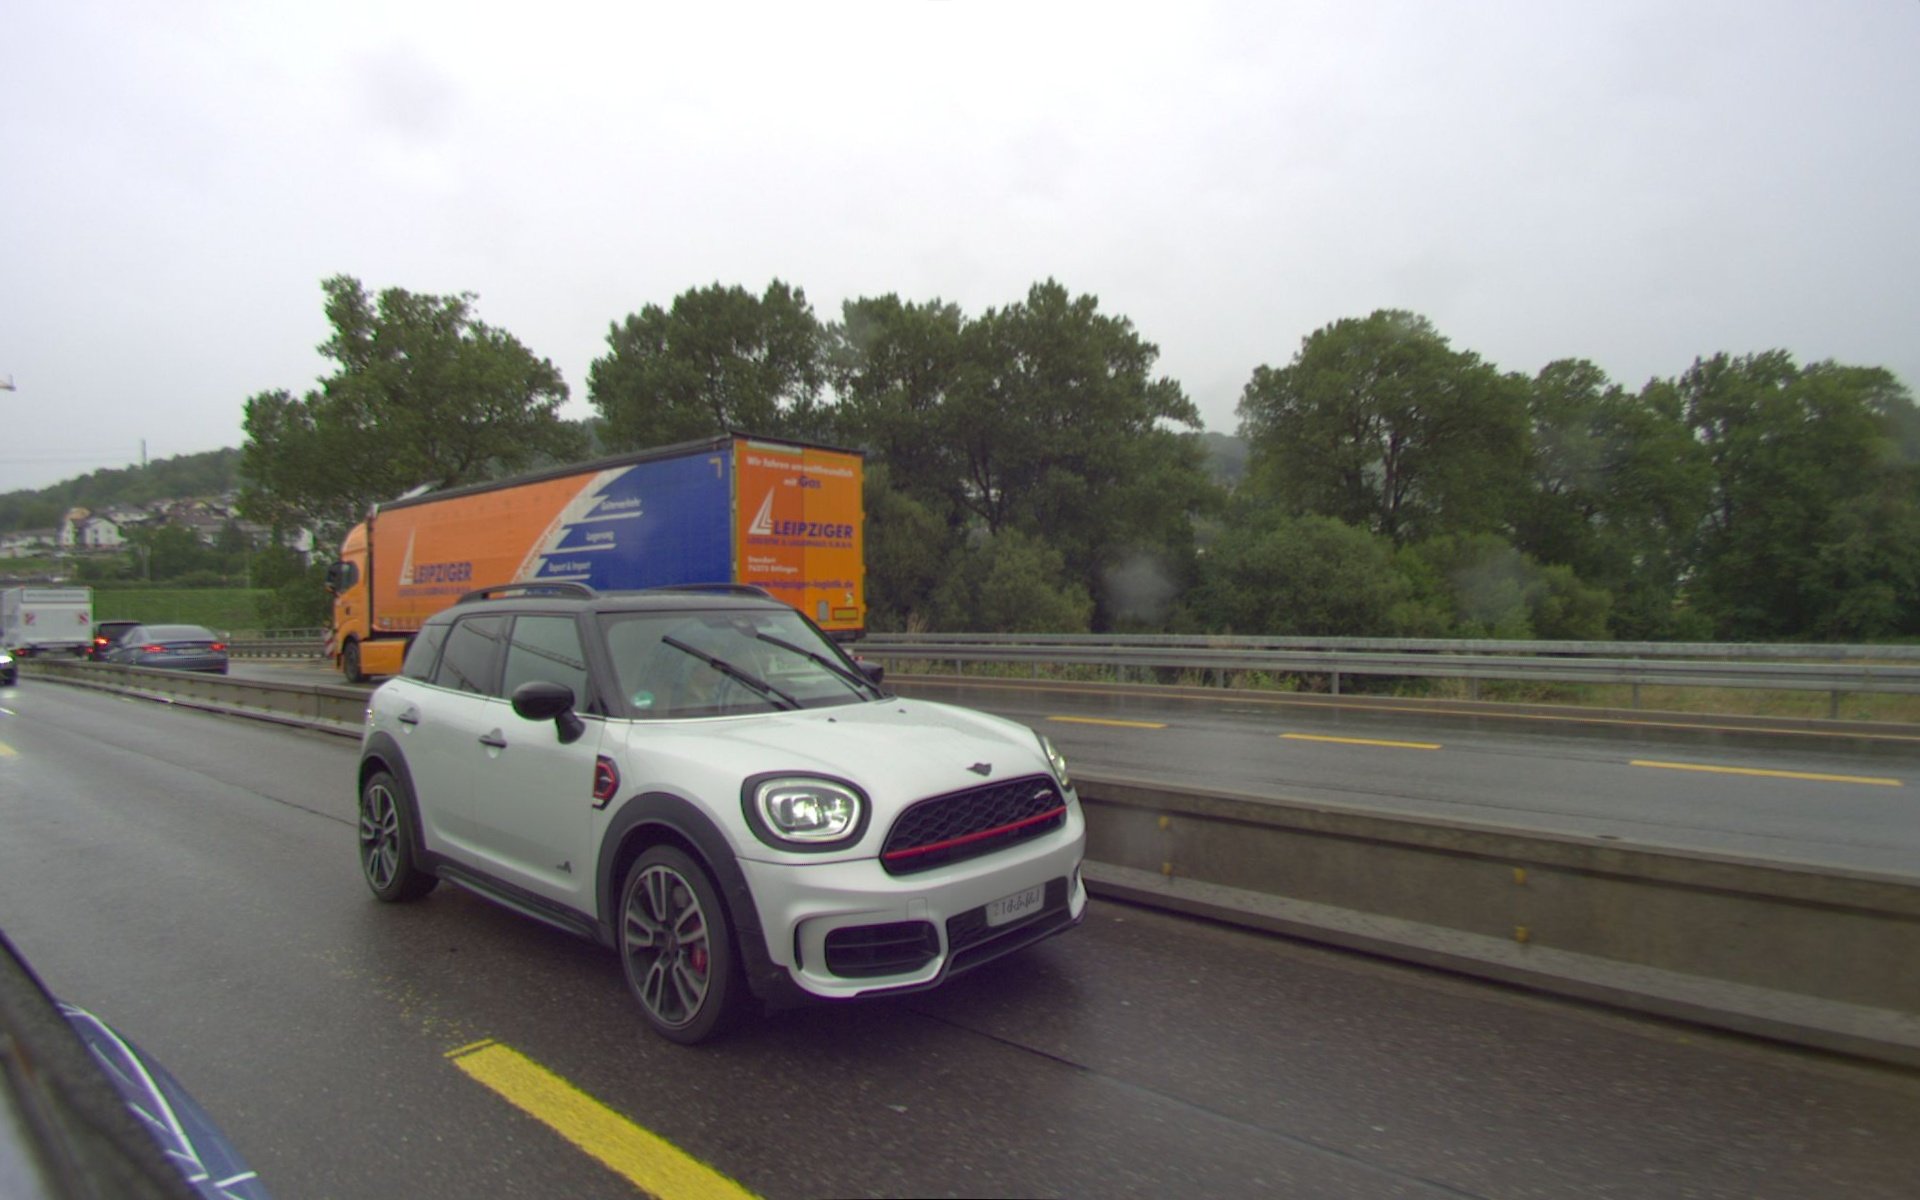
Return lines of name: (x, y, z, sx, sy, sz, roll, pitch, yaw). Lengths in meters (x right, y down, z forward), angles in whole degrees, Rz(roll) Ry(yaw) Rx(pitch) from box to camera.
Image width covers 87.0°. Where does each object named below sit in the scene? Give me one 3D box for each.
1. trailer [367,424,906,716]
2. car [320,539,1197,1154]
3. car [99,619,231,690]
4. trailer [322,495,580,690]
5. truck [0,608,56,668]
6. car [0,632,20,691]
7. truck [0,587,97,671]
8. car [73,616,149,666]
trailer: (-7.096, -0.242, 19.435, 13.692, 3.938, 3.243, -2, -1, 41)
car: (-1.273, 0.681, 4.768, 4.306, 1.612, 1.797, -2, -1, 41)
car: (-19.473, 1.258, 24.724, 4.125, 1.521, 1.812, -1, 0, 41)
trailer: (-12.099, -0.079, 23.827, 6.348, 3.948, 3.236, -2, -1, 41)
truck: (-60.602, 2.392, 65.305, 6.536, 3.653, 2.574, -1, 0, 41)
car: (-26.425, 1.614, 26.706, 4.481, 1.449, 1.926, -1, 0, 41)
truck: (-35.520, 1.054, 39.101, 6.536, 3.016, 2.382, -1, 0, 41)
car: (-36.650, 1.758, 43.663, 3.998, 2.029, 1.882, -1, -3, 41)
